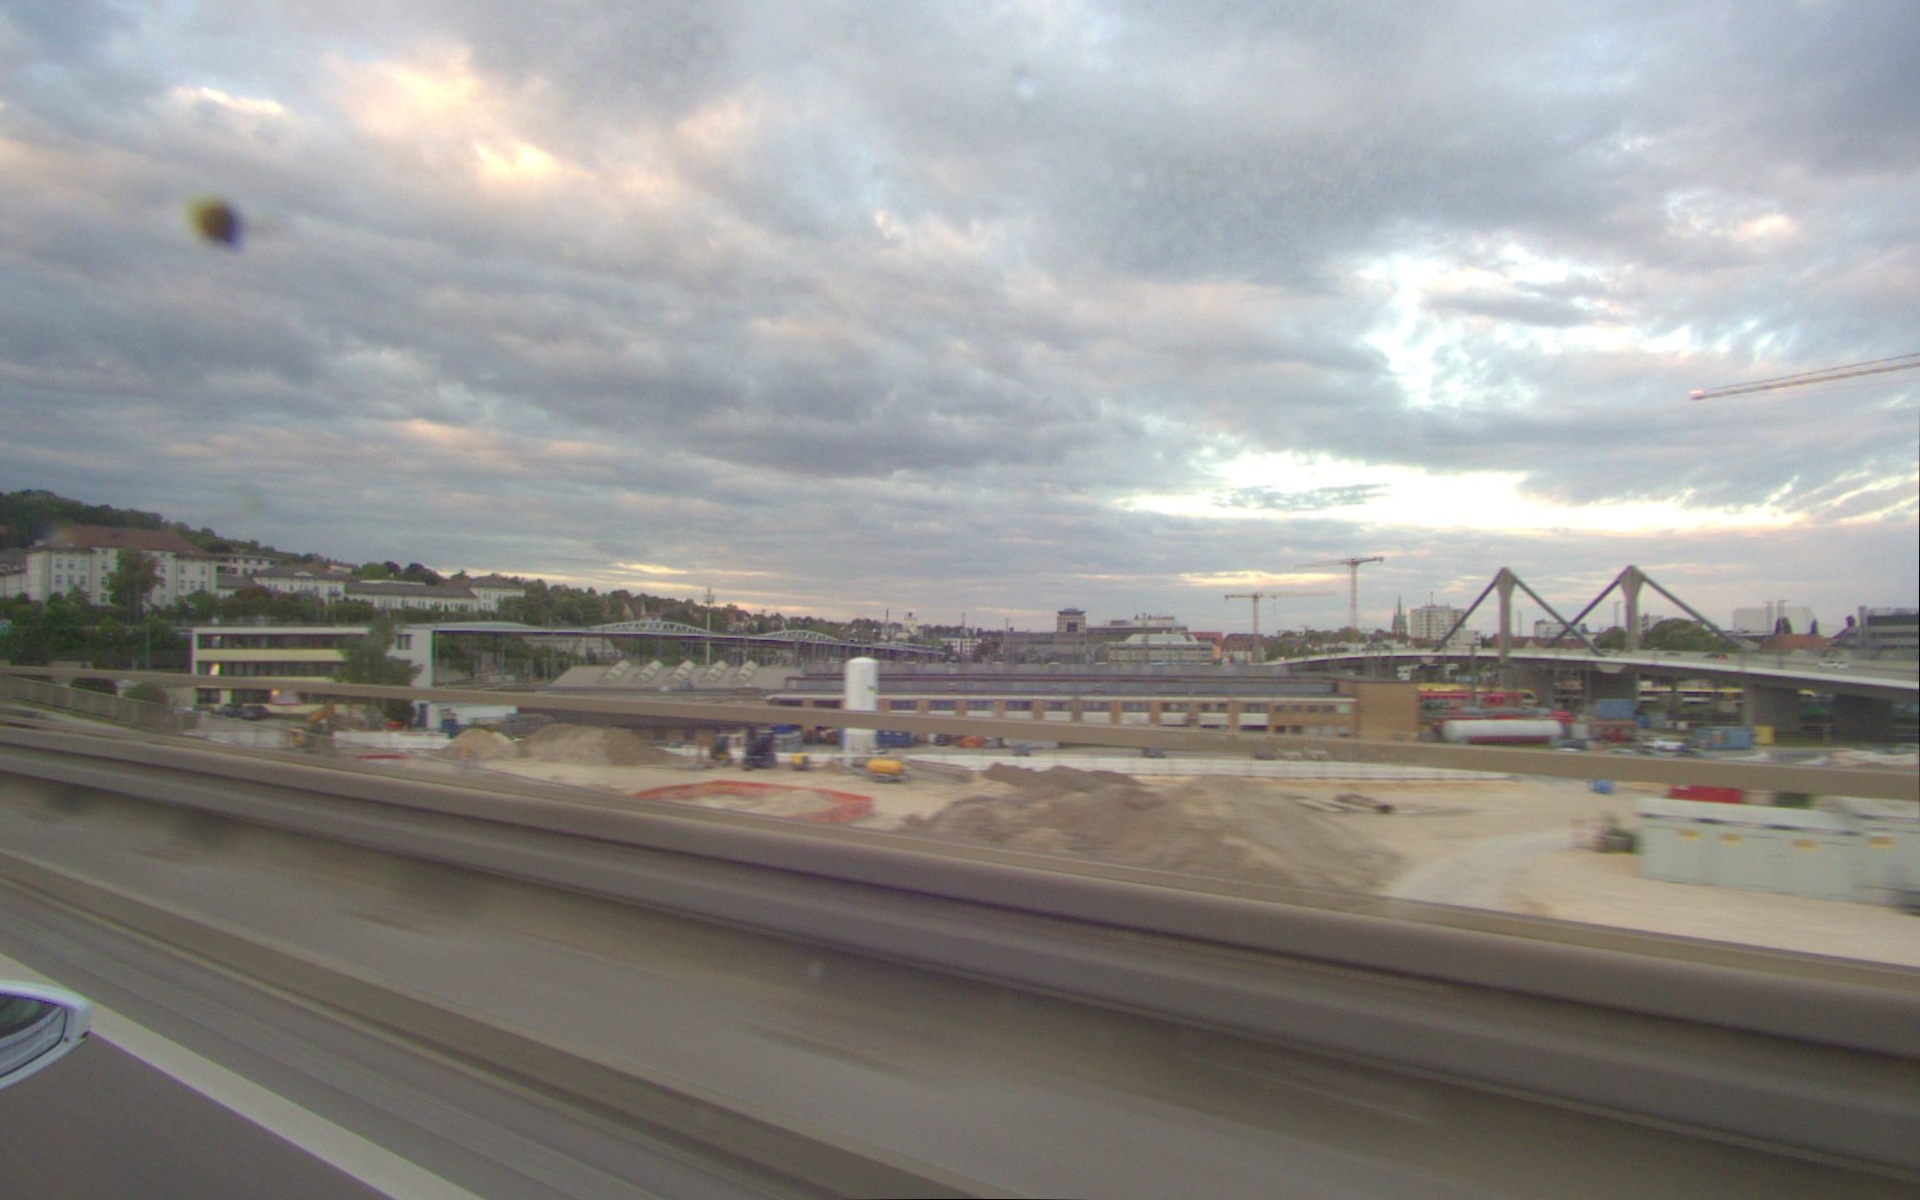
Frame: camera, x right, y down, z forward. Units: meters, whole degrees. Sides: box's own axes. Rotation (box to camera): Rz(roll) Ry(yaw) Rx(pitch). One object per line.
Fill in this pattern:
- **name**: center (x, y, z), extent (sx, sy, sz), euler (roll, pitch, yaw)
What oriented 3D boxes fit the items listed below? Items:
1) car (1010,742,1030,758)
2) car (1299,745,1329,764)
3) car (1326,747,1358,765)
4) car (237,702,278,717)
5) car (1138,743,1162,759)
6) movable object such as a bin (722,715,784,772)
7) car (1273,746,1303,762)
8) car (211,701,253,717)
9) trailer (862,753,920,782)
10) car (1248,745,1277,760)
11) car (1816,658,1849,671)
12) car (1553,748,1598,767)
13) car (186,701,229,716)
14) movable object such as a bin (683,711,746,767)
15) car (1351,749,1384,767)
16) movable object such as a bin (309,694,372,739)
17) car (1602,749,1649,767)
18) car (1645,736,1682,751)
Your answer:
- **car**: center (6.533, 16.356, 109.377), extent (1.835, 1.435, 4.009), euler (4, -7, 0)
- **car**: center (38.059, 16.612, 107.761), extent (1.835, 1.733, 4.009), euler (4, -7, 0)
- **car**: center (40.751, 16.665, 106.955), extent (1.835, 1.669, 4.009), euler (4, -7, 0)
- **car**: center (-79.066, 12.316, 112.778), extent (1.796, 1.583, 4.006), euler (5, -5, -2)
- **car**: center (20.557, 16.353, 108.420), extent (1.835, 1.435, 4.009), euler (4, -7, 0)
- **movable object such as a bin**: center (-17.021, 11.839, 82.571), extent (2.734, 4.356, 4.963), euler (1, -7, 16)
- **car**: center (35.270, 16.574, 107.707), extent (1.835, 1.435, 4.009), euler (4, -7, 0)
- **car**: center (-82.693, 12.350, 113.847), extent (1.796, 1.583, 4.006), euler (5, -5, -2)
- **trailer**: center (-5.240, 12.615, 75.734), extent (3.780, 1.823, 1.999), euler (1, -7, 25)
- **car**: center (32.533, 16.436, 107.900), extent (1.835, 1.435, 4.009), euler (4, -7, 0)
- **car**: center (133.877, 9.883, 153.651), extent (1.565, 1.761, 3.704), euler (5, 0, -4)
- **car**: center (65.490, 16.738, 106.600), extent (1.835, 1.539, 4.348), euler (0, -4, -4)
- **car**: center (-85.945, 12.371, 114.455), extent (1.796, 1.583, 4.006), euler (5, -5, -2)
- **movable object such as a bin**: center (-20.466, 11.626, 83.731), extent (2.734, 4.356, 4.963), euler (1, -7, 16)
- **car**: center (43.402, 16.825, 106.791), extent (1.835, 1.669, 4.009), euler (4, -7, 0)
- **movable object such as a bin**: center (-64.957, 12.183, 105.000), extent (4.869, 4.357, 2.786), euler (1, -7, 19)
- **car**: center (70.474, 16.701, 106.046), extent (1.835, 1.539, 4.348), euler (0, -4, -4)
- **car**: center (84.484, 17.225, 120.278), extent (3.618, 1.593, 1.441), euler (5, -7, -9)
